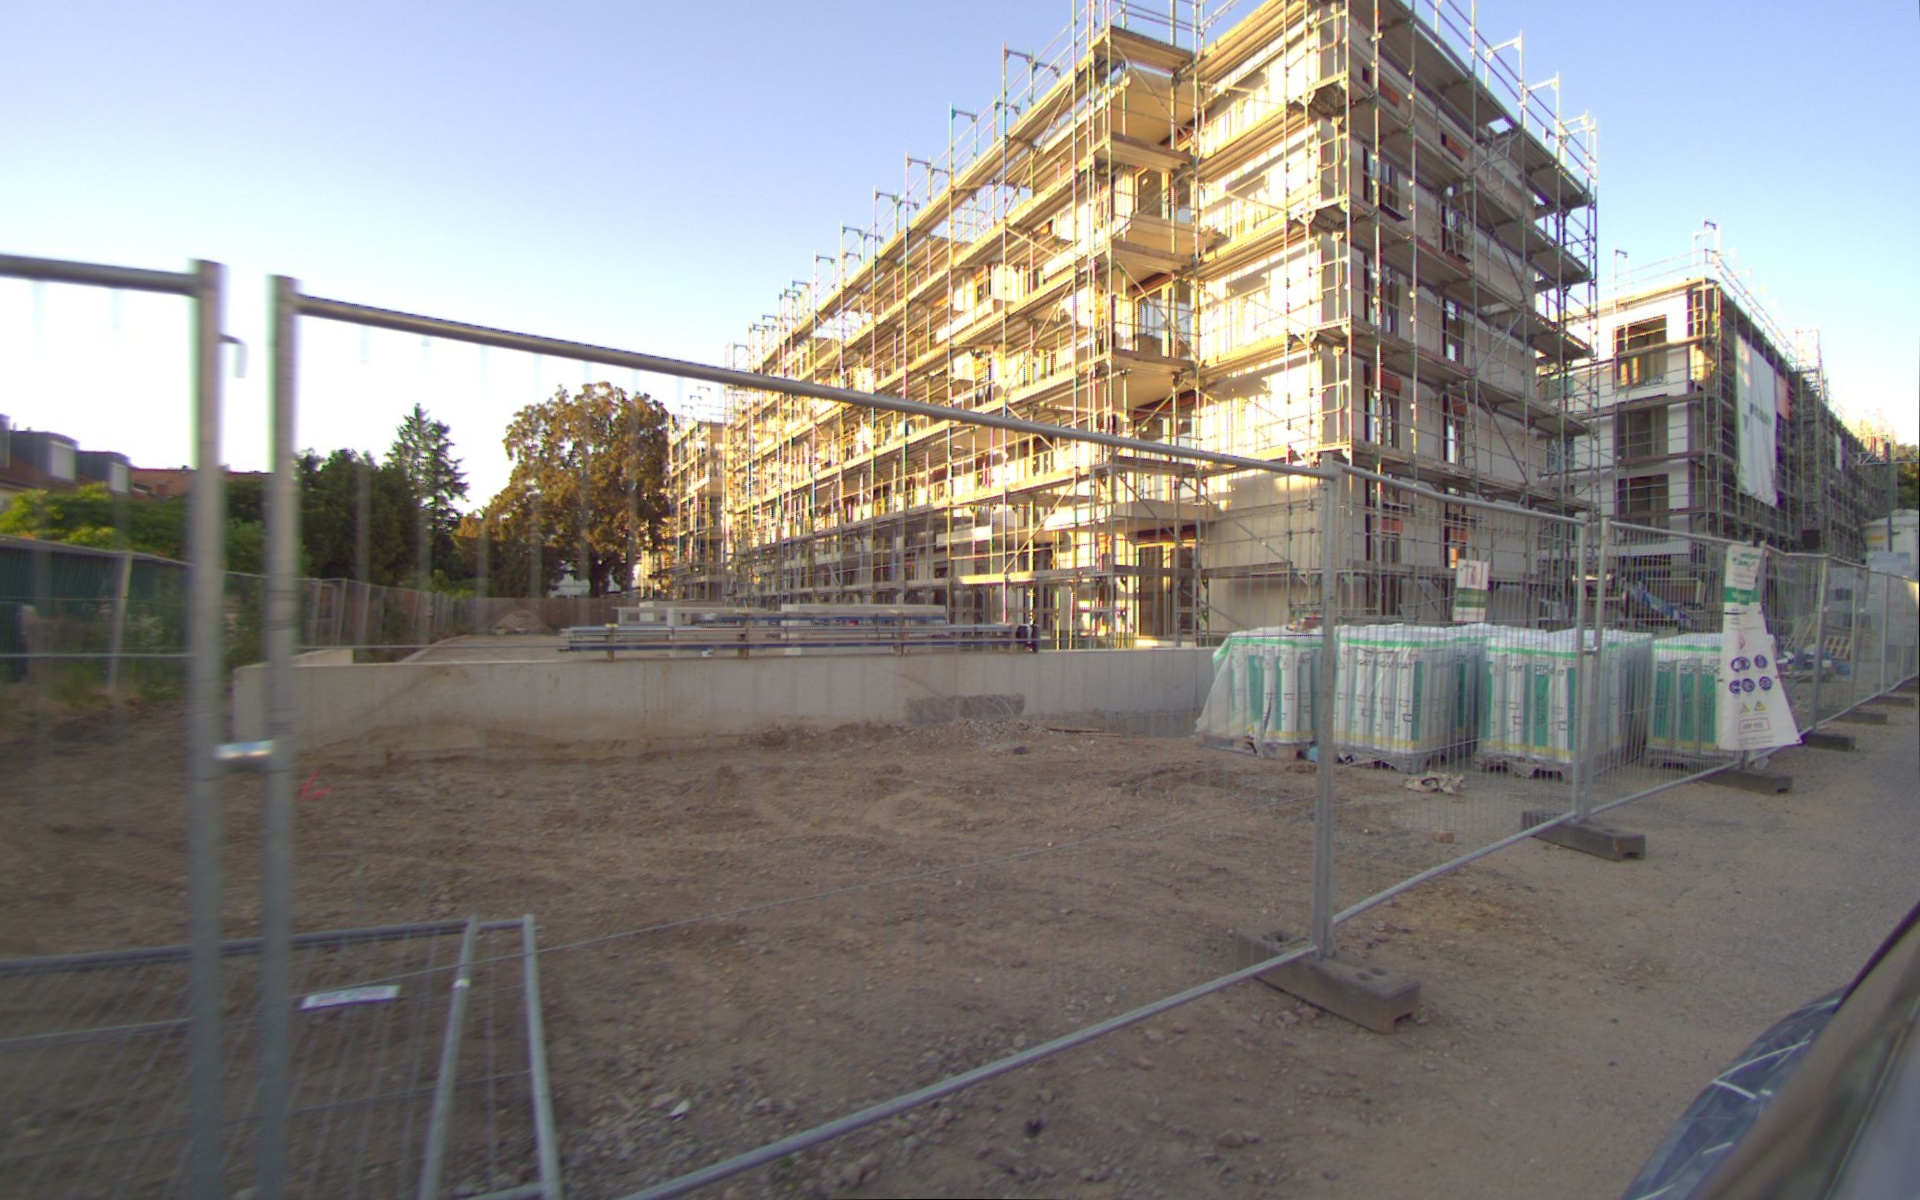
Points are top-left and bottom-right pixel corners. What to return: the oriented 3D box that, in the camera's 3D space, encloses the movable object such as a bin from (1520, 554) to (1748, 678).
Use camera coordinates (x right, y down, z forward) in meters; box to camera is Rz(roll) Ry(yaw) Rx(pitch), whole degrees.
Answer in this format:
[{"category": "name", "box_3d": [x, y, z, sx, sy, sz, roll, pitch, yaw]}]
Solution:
[{"category": "movable object such as a bin", "box_3d": [15.116, 0.291, 22.369, 8.221, 2.302, 2.069, 0, 0, -41]}]
